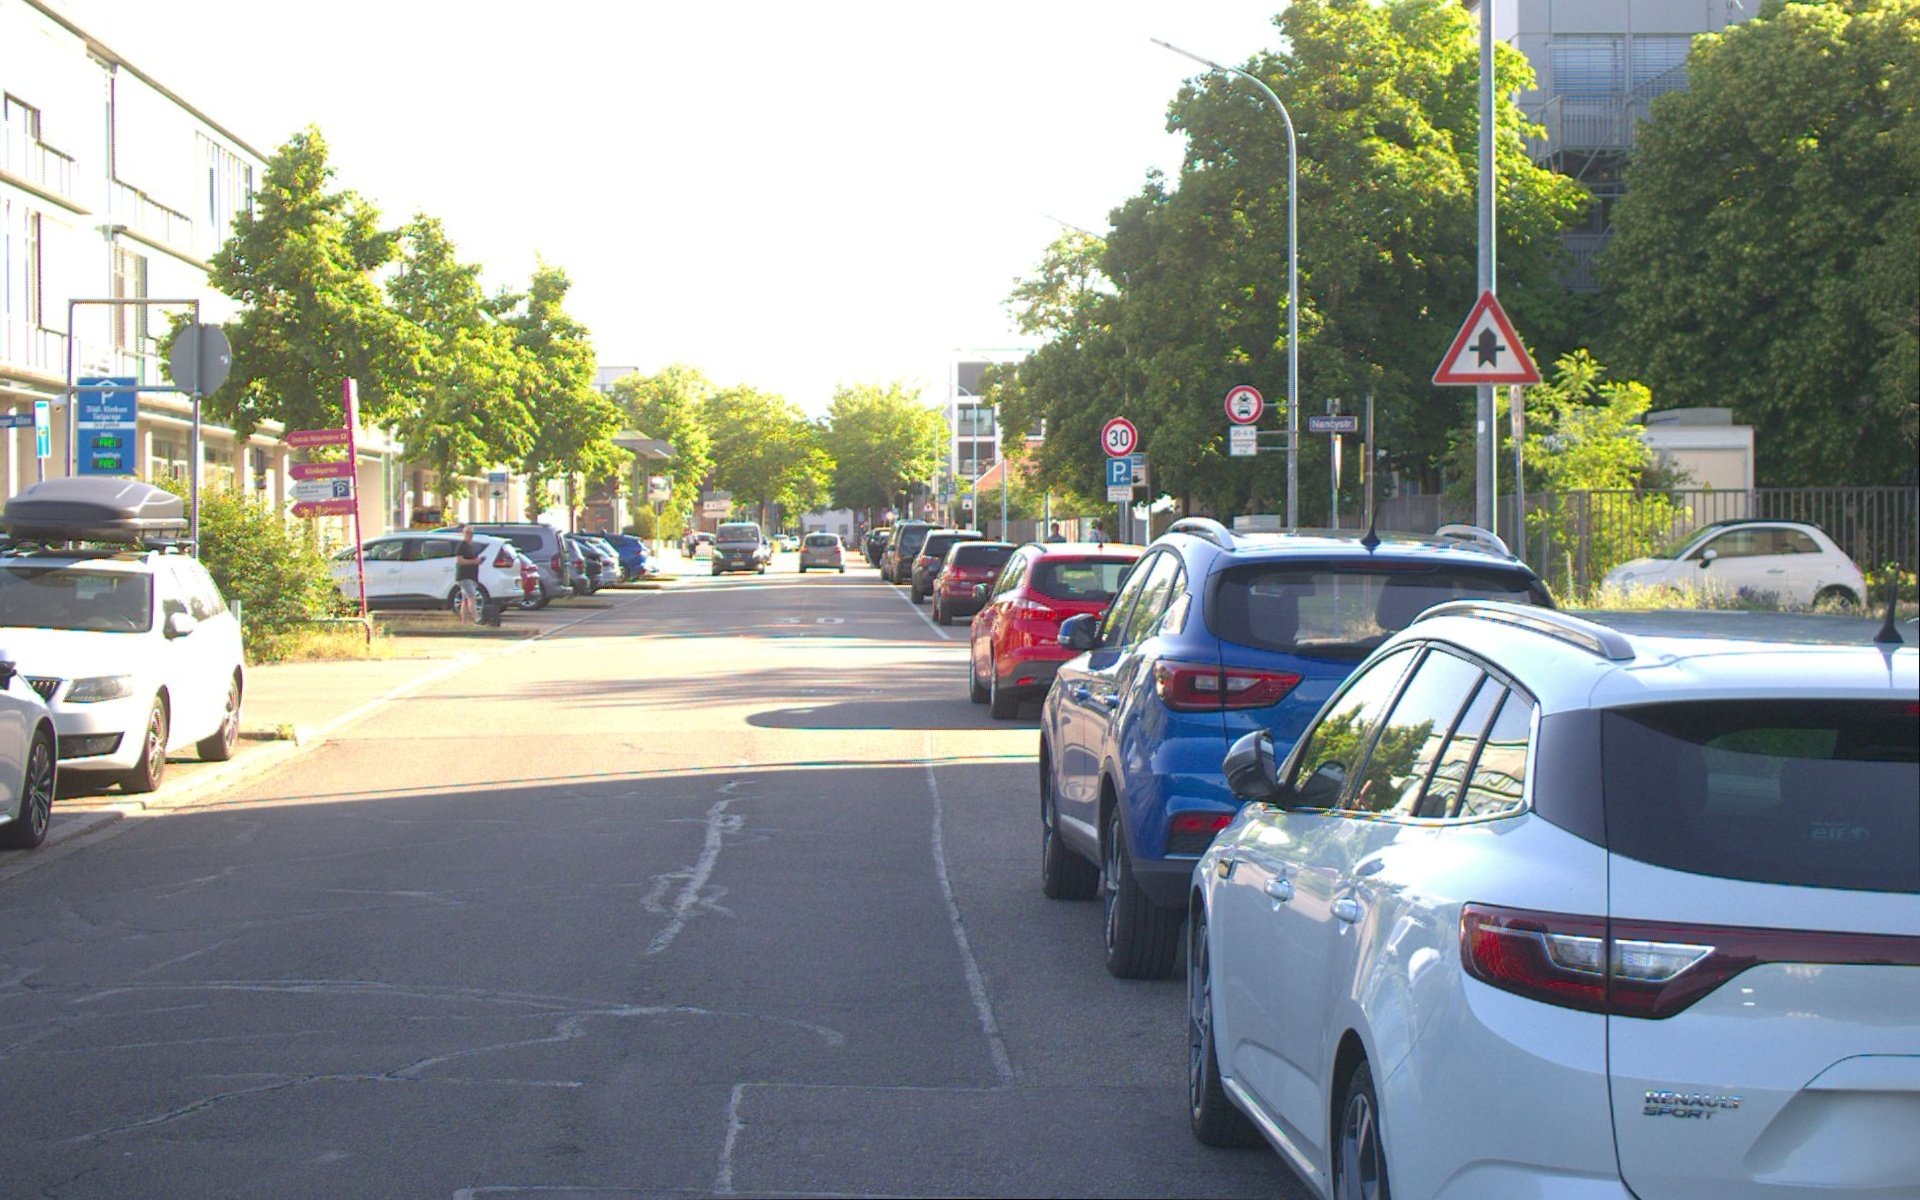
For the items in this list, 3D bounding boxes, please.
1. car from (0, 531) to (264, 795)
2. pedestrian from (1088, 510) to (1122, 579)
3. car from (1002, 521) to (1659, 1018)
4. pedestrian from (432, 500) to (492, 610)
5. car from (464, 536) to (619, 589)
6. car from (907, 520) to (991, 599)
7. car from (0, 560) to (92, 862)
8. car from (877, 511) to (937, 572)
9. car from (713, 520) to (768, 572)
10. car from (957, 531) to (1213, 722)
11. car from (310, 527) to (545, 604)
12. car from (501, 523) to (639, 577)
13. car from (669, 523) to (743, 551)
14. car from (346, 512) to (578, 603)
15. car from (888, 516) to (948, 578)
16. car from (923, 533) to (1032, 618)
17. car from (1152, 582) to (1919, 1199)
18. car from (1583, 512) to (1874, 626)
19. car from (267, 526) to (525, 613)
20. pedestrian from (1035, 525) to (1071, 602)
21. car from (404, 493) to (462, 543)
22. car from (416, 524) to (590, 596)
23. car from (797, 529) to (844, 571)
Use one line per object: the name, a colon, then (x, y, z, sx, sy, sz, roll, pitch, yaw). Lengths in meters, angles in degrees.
car: (-5.806, 0.330, 22.558, 1.695, 1.508, 4.518, 2, 1, -2)
pedestrian: (3.606, -1.379, 85.349, 0.698, 1.655, 0.752, -3, 1, -2)
car: (1.245, 0.511, 13.580, 1.817, 1.594, 4.628, 1, 1, -3)
pedestrian: (-8.467, -0.775, 58.478, 0.857, 1.836, 0.825, 2, 1, 0)
car: (-10.923, -0.998, 90.025, 3.986, 1.354, 1.743, 0, 1, -6)
car: (-0.290, -0.955, 78.419, 1.812, 1.660, 4.593, 1, 2, -1)
car: (-5.519, 0.543, 16.335, 1.747, 1.441, 4.542, 1, 1, -2)
car: (-1.816, -1.988, 115.832, 1.874, 1.971, 4.001, -1, 1, -2)
car: (-8.074, -1.992, 126.262, 1.955, 1.861, 5.256, 0, 1, -4)
car: (1.007, 0.174, 29.980, 1.818, 1.494, 4.453, 1, 1, -3)
car: (-10.597, -0.692, 68.571, 4.433, 1.496, 1.828, 0, 1, -2)
car: (-12.112, -1.558, 106.925, 4.213, 1.597, 1.872, 1, 1, -6)
car: (-14.062, -3.475, 190.531, 3.986, 1.514, 2.000, 0, 0, -2)
car: (-10.717, -0.928, 74.182, 4.742, 1.858, 1.828, 1, 1, -2)
car: (-1.280, -1.594, 103.357, 1.733, 1.824, 3.906, 0, 1, -2)
car: (0.285, -0.468, 62.393, 1.719, 1.450, 4.653, 1, 1, -3)
car: (1.483, 0.731, 7.199, 1.745, 1.424, 4.586, 1, 1, -2)
car: (10.332, -0.424, 46.360, 3.546, 1.481, 1.600, 0, 1, -1)
car: (-10.780, -0.587, 65.880, 4.612, 1.645, 1.867, 0, 1, 1)
pedestrian: (2.141, -0.853, 79.505, 0.717, 1.752, 0.885, -3, 1, -1)
car: (-22.259, -3.467, 145.396, 1.993, 2.007, 4.000, 0, 0, -2)
car: (-10.761, -0.946, 81.212, 3.986, 1.601, 1.872, 1, 1, -6)
car: (-5.235, -1.901, 129.043, 1.743, 1.538, 4.001, 0, 1, -2)
